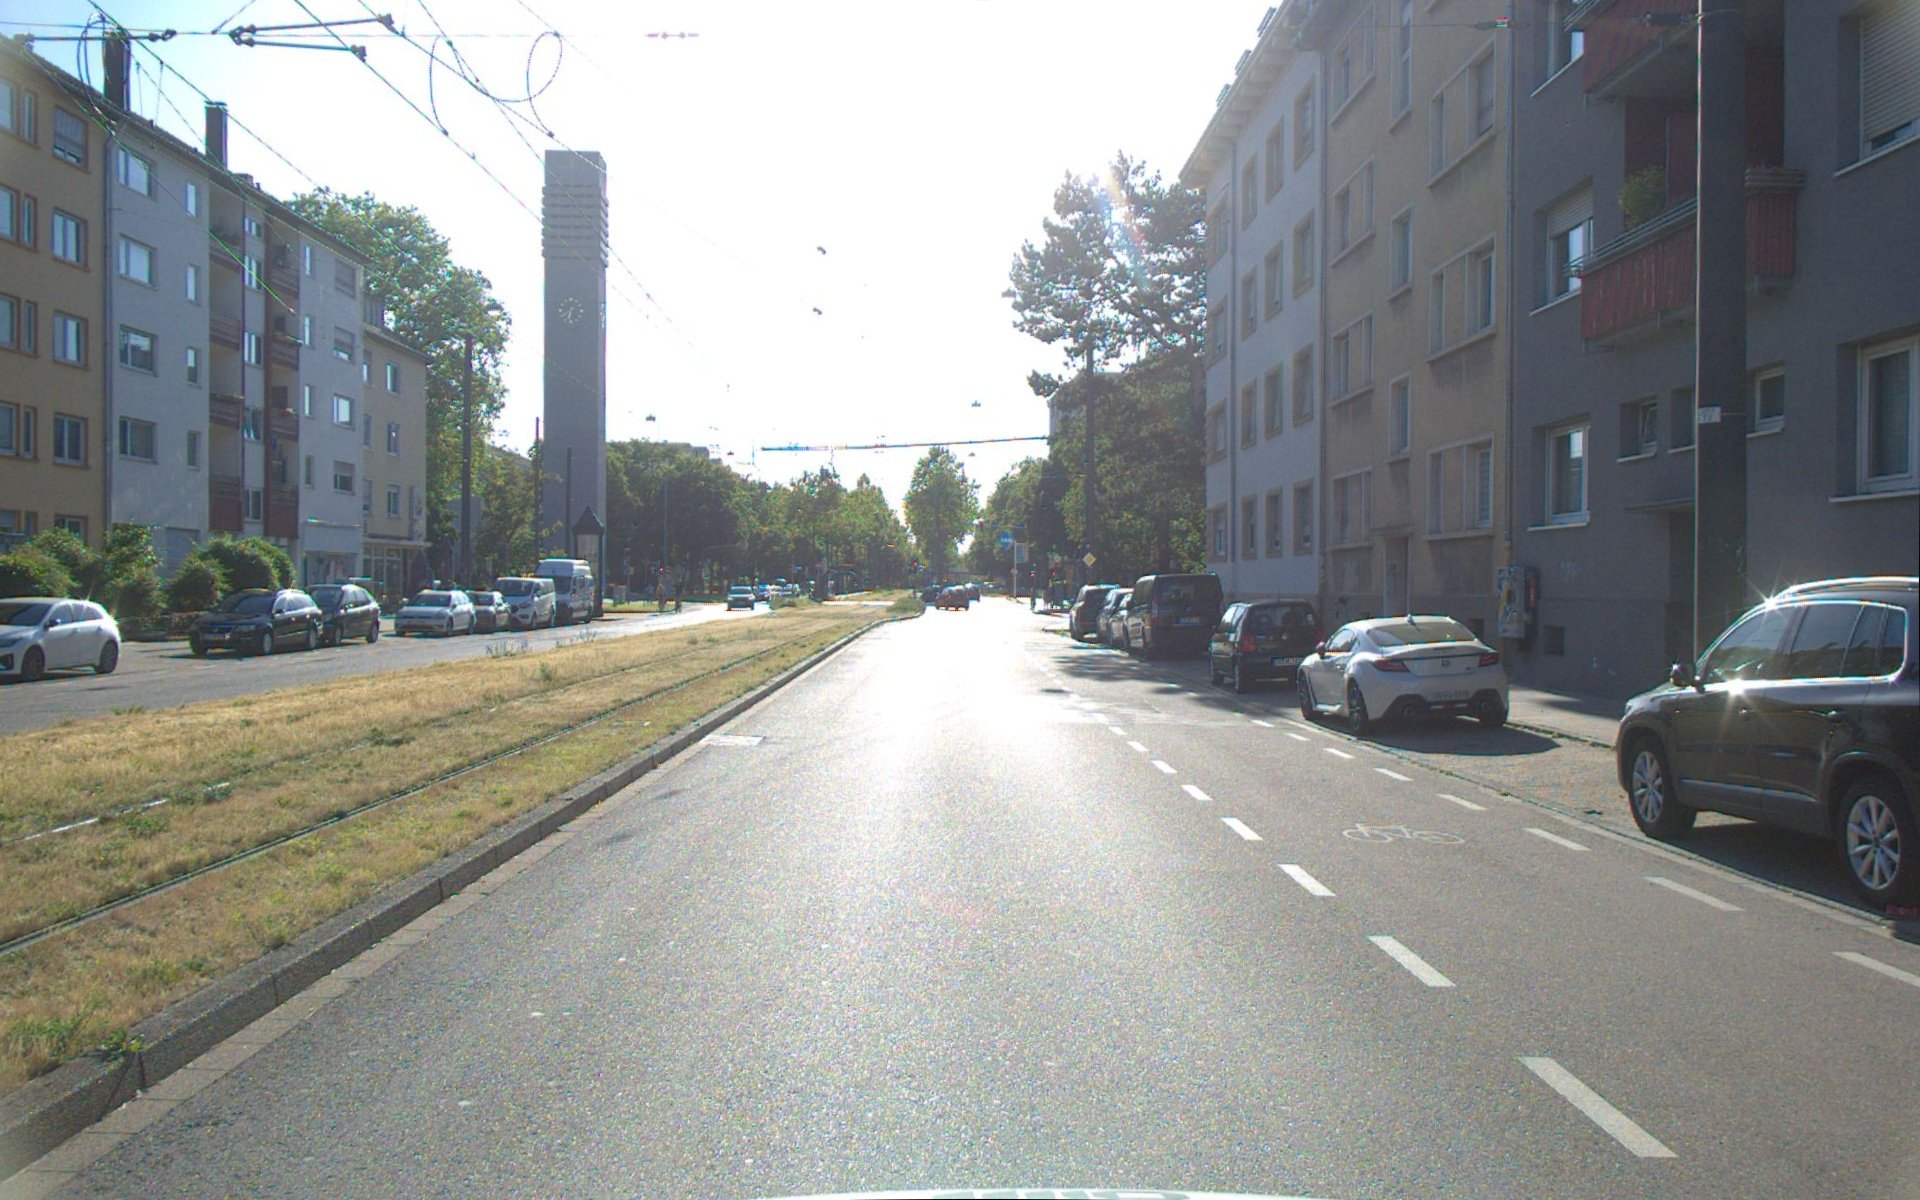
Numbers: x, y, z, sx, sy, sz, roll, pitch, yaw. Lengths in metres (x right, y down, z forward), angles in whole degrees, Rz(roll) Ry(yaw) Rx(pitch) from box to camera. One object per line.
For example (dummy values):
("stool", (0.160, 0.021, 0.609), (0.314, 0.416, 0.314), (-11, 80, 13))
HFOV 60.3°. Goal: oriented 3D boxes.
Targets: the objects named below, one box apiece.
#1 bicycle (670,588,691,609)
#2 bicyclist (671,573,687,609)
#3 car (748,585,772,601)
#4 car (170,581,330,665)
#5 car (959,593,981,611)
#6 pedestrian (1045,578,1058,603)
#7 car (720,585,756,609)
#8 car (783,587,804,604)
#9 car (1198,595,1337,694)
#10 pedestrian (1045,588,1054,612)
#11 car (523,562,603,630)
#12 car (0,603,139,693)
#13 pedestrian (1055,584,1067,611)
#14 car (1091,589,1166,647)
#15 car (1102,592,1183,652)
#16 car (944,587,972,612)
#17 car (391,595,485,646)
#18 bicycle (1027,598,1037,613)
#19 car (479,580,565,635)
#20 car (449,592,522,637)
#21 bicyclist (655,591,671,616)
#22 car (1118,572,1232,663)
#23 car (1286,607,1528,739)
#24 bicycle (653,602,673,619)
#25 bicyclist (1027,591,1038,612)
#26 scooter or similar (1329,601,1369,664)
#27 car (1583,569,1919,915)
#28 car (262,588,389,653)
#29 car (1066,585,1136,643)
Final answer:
("bicycle", (-16.408, -0.079, 97.157), (0.752, 1.166, 2.474), (-2, 1, 0))
("bicyclist", (-16.419, -0.547, 96.761), (0.757, 2.048, 0.648), (3, 0, -1))
("car", (-19.146, -0.682, 158.642), (1.770, 1.560, 4.360), (0, 0, -1))
("car", (-17.518, 0.518, 41.073), (1.953, 1.870, 4.609), (2, 0, -1))
("car", (0.956, 0.148, 161.602), (1.856, 1.639, 4.499), (3, 0, -2))
("pedestrian", (6.451, -0.685, 116.467), (0.714, 1.711, 0.533), (3, 0, 12))
("car", (-13.883, -0.195, 103.797), (1.659, 1.473, 4.217), (-1, 1, 0))
("car", (-16.101, -0.466, 159.874), (1.653, 1.560, 4.360), (0, 1, -1))
("car", (5.190, 0.708, 28.329), (1.602, 1.479, 3.789), (-2, 1, -1))
("pedestrian", (6.033, -0.005, 111.731), (0.518, 1.555, 0.628), (-1, 0, 5))
("car", (-17.852, -0.208, 74.668), (1.990, 2.918, 6.228), (1, 0, 0))
("car", (-17.298, 0.837, 30.931), (1.693, 1.480, 4.376), (1, 1, -1))
("pedestrian", (6.808, -0.178, 111.578), (0.688, 1.821, 0.694), (-2, 1, 5))
("car", (4.985, 0.500, 49.311), (1.562, 1.606, 3.893), (-2, 0, -3))
("car", (4.862, 0.553, 44.514), (1.480, 1.504, 4.236), (-1, 0, -3))
("car", (-0.152, -0.059, 110.665), (1.660, 1.534, 3.697), (2, 1, -3))
("car", (-17.631, 0.658, 56.075), (1.854, 1.517, 4.701), (2, 1, -3))
("bicycle", (4.860, 0.373, 111.208), (0.634, 0.989, 1.804), (3, 0, 2))
("car", (-17.804, 0.276, 67.520), (1.991, 2.056, 5.371), (3, 0, 0))
("car", (-17.667, 0.514, 61.756), (1.661, 1.541, 4.324), (1, 0, -3))
("bicyclist", (-16.369, 0.192, 91.234), (0.757, 1.408, 0.648), (0, 0, -1))
("car", (5.069, 0.369, 39.679), (1.874, 1.932, 5.134), (-3, 0, -1))
("car", (5.381, 0.818, 20.493), (1.668, 1.297, 4.302), (-3, 1, -2))
("bicycle", (-16.371, 0.554, 91.237), (0.752, 0.895, 2.069), (-1, 1, 0))
("bicyclist", (4.867, 0.081, 111.241), (0.625, 1.346, 0.803), (3, 0, 2))
("scooter or similar", (8.148, 0.669, 34.662), (0.449, 1.260, 1.338), (-3, 0, 0))
("car", (5.461, 0.679, 9.884), (1.603, 1.676, 4.371), (-2, 1, -3))
("car", (-17.778, 0.545, 46.554), (1.953, 1.635, 4.150), (3, 0, -1))
("car", (4.620, 0.407, 54.800), (1.840, 1.746, 4.934), (-3, 0, 0))
